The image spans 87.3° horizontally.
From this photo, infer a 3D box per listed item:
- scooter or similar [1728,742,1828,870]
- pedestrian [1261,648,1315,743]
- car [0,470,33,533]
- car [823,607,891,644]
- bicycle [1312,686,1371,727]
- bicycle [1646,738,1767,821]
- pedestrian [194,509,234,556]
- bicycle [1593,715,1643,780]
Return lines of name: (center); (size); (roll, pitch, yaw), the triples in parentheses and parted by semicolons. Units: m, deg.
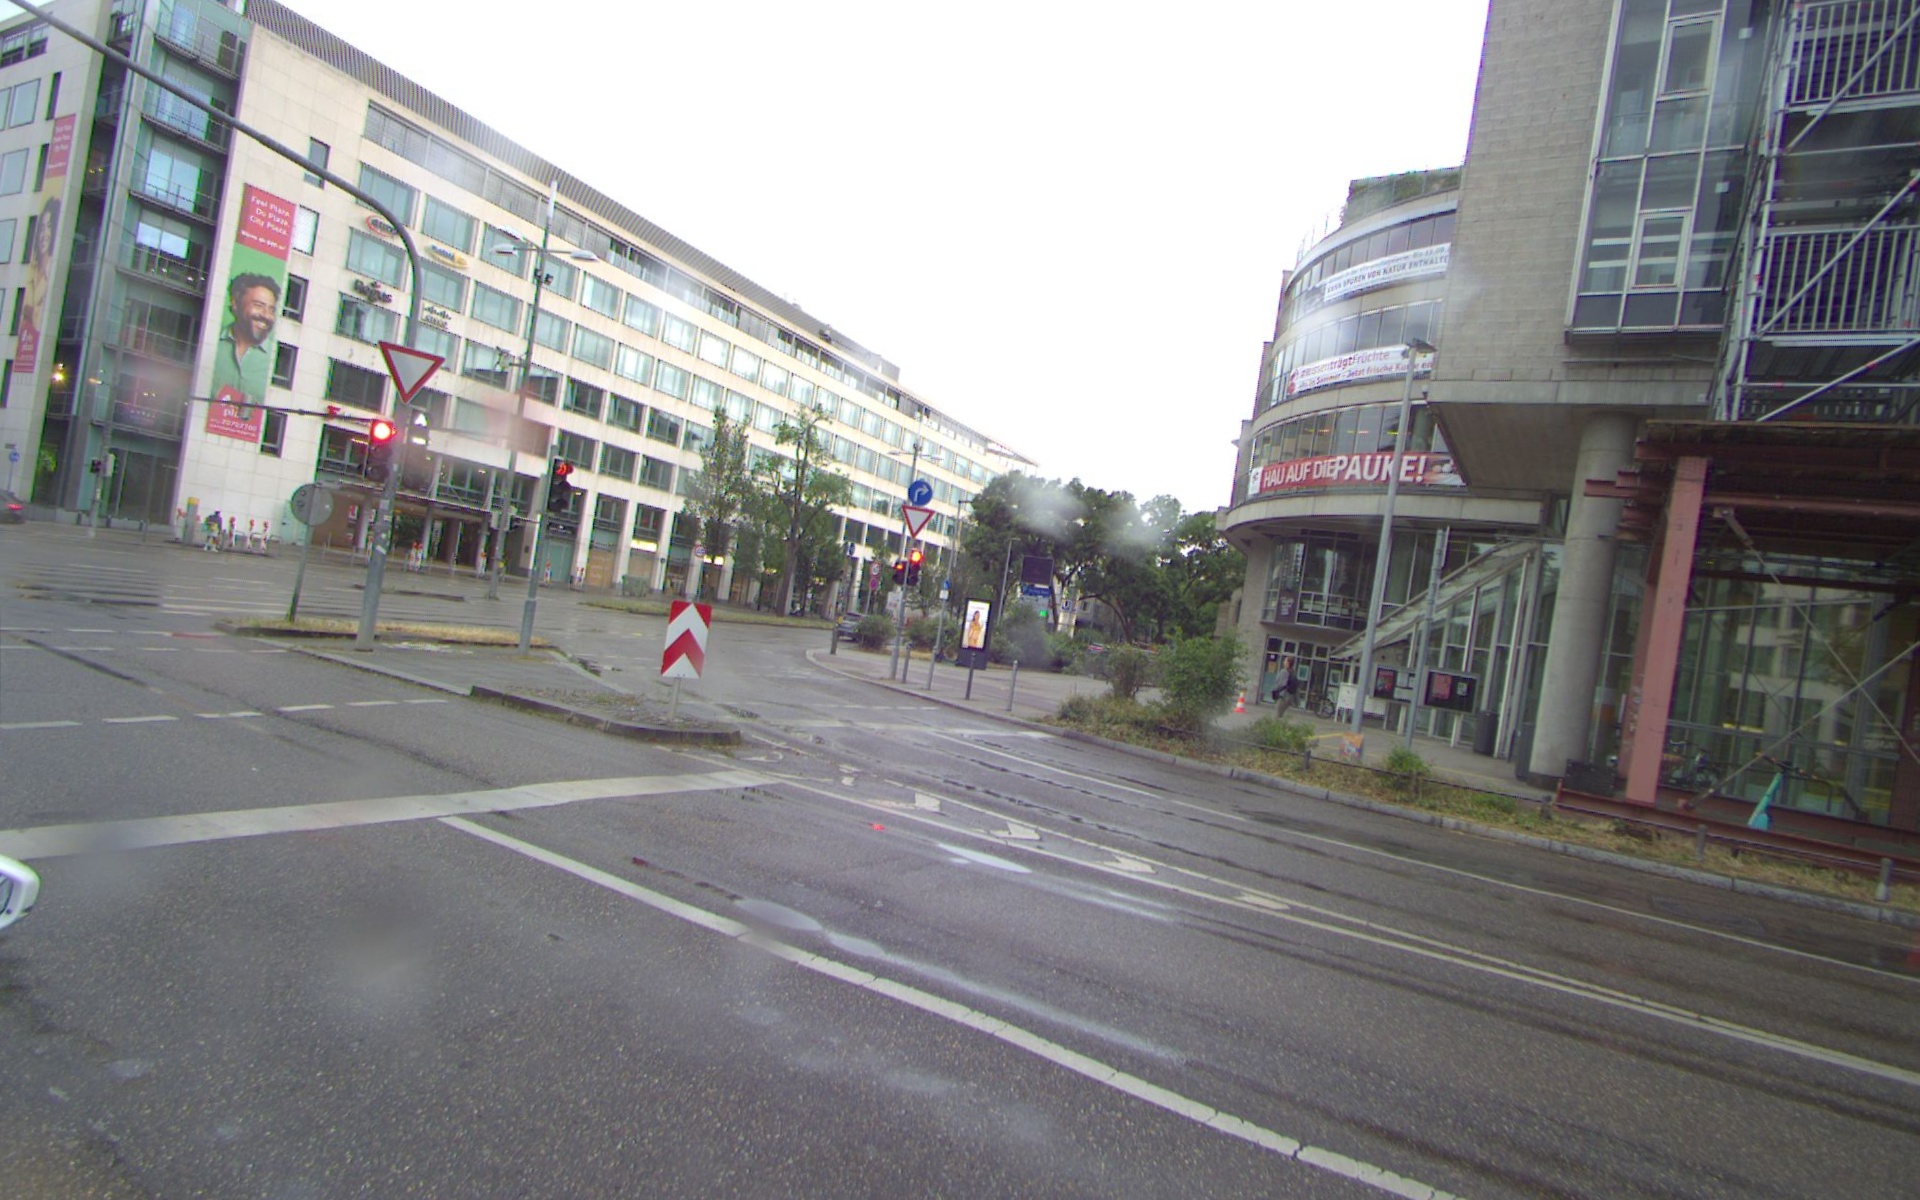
scooter or similar: (9.234, 2.275, 11.409); (0.577, 1.208, 1.780); (7, -1, 34)
pedestrian: (6.690, 1.931, 20.529); (0.776, 1.796, 0.781); (7, -1, 13)
car: (-34.660, -3.685, 34.060); (4.641, 2.037, 1.530); (9, -2, -43)
car: (-5.173, 1.321, 50.963); (1.713, 1.472, 3.723); (7, -2, 23)
bicycle: (13.468, 3.755, 35.521); (1.753, 1.208, 0.586); (6, -1, 29)
bicycle: (13.498, 3.231, 18.220); (1.584, 1.208, 0.587); (7, -1, 6)
pedestrian: (-32.175, -2.900, 43.389); (0.822, 1.838, 0.963); (6, -1, 31)
bicycle: (13.661, 3.038, 20.925); (0.576, 1.208, 1.614); (7, -2, 27)
